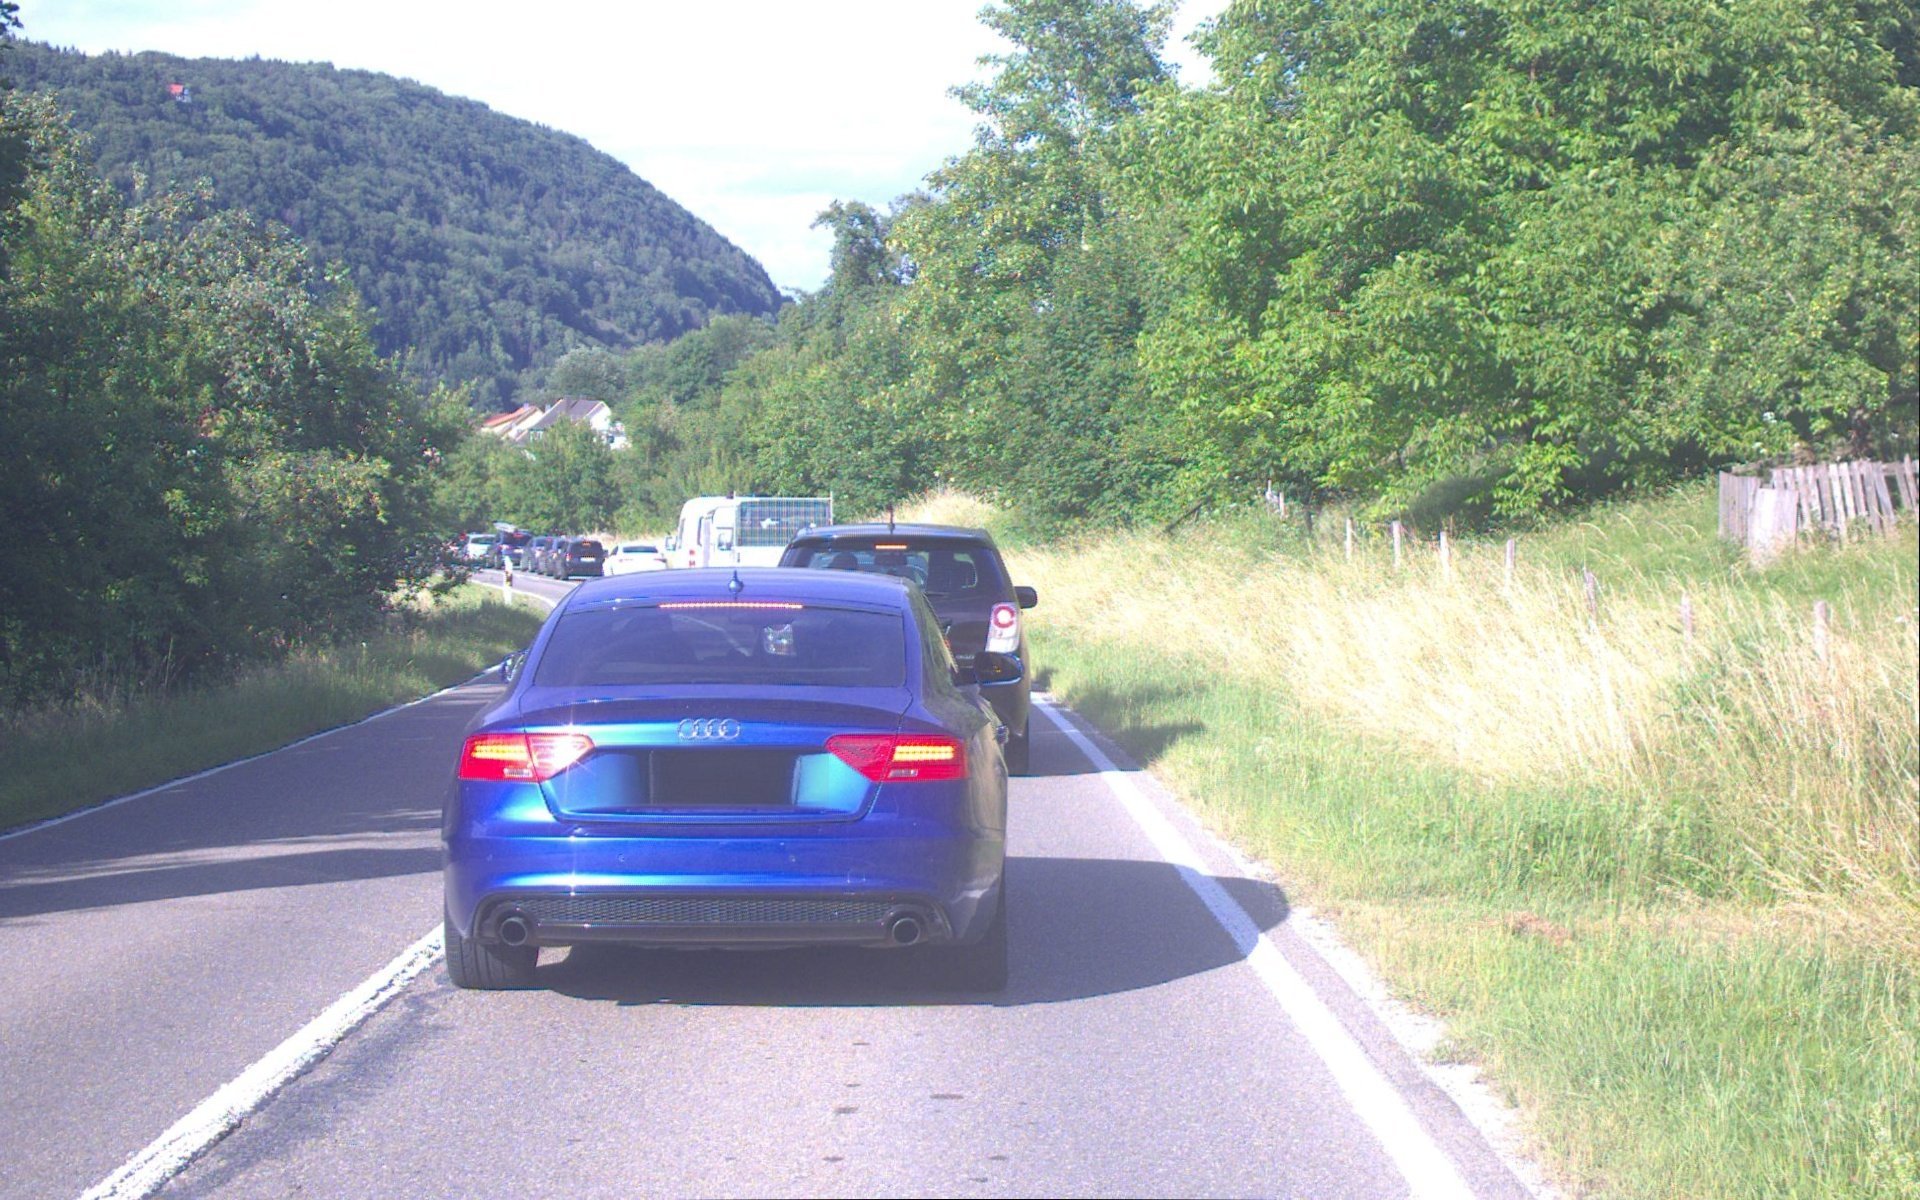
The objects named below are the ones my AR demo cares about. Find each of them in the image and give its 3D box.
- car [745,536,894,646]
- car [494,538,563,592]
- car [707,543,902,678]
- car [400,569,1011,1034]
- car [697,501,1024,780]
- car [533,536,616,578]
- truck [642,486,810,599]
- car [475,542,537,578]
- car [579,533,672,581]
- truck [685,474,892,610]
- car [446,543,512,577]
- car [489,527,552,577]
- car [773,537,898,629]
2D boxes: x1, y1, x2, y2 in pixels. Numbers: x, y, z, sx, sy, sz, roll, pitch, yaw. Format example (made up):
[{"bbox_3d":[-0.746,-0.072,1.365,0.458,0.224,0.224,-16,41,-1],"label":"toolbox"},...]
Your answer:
[{"bbox_3d":[-1.960,-0.145,48.990,1.993,1.477,4.000,1,1,-1],"label":"car"},{"bbox_3d":[-16.591,-1.347,132.044,1.993,2.007,4.001,1,1,-16],"label":"car"},{"bbox_3d":[-1.659,0.090,37.939,1.993,1.382,4.000,1,1,-1],"label":"car"},{"bbox_3d":[-0.744,0.577,12.180,1.794,1.355,4.000,1,1,0],"label":"car"},{"bbox_3d":[-0.634,0.232,23.184,1.993,1.696,4.000,1,0,-1],"label":"car"},{"bbox_3d":[-13.828,-1.536,123.080,1.993,1.477,4.001,1,1,-21],"label":"car"},{"bbox_3d":[-6.048,-1.450,87.092,2.863,2.656,10.648,1,1,-11],"label":"truck"},{"bbox_3d":[-19.467,-1.718,147.376,1.993,1.477,4.001,1,1,-17],"label":"car"},{"bbox_3d":[-10.830,-1.390,111.194,1.993,1.477,4.001,1,1,-21],"label":"car"},{"bbox_3d":[-3.784,-1.229,73.050,2.863,2.656,10.396,1,1,-11],"label":"truck"},{"bbox_3d":[-21.838,-1.821,155.977,1.993,1.477,4.001,1,1,-23],"label":"car"},{"bbox_3d":[-17.899,-1.943,139.818,1.993,2.007,4.001,1,0,-15],"label":"car"},{"bbox_3d":[-2.059,-0.290,57.978,1.993,1.477,4.000,1,1,-1],"label":"car"}]
